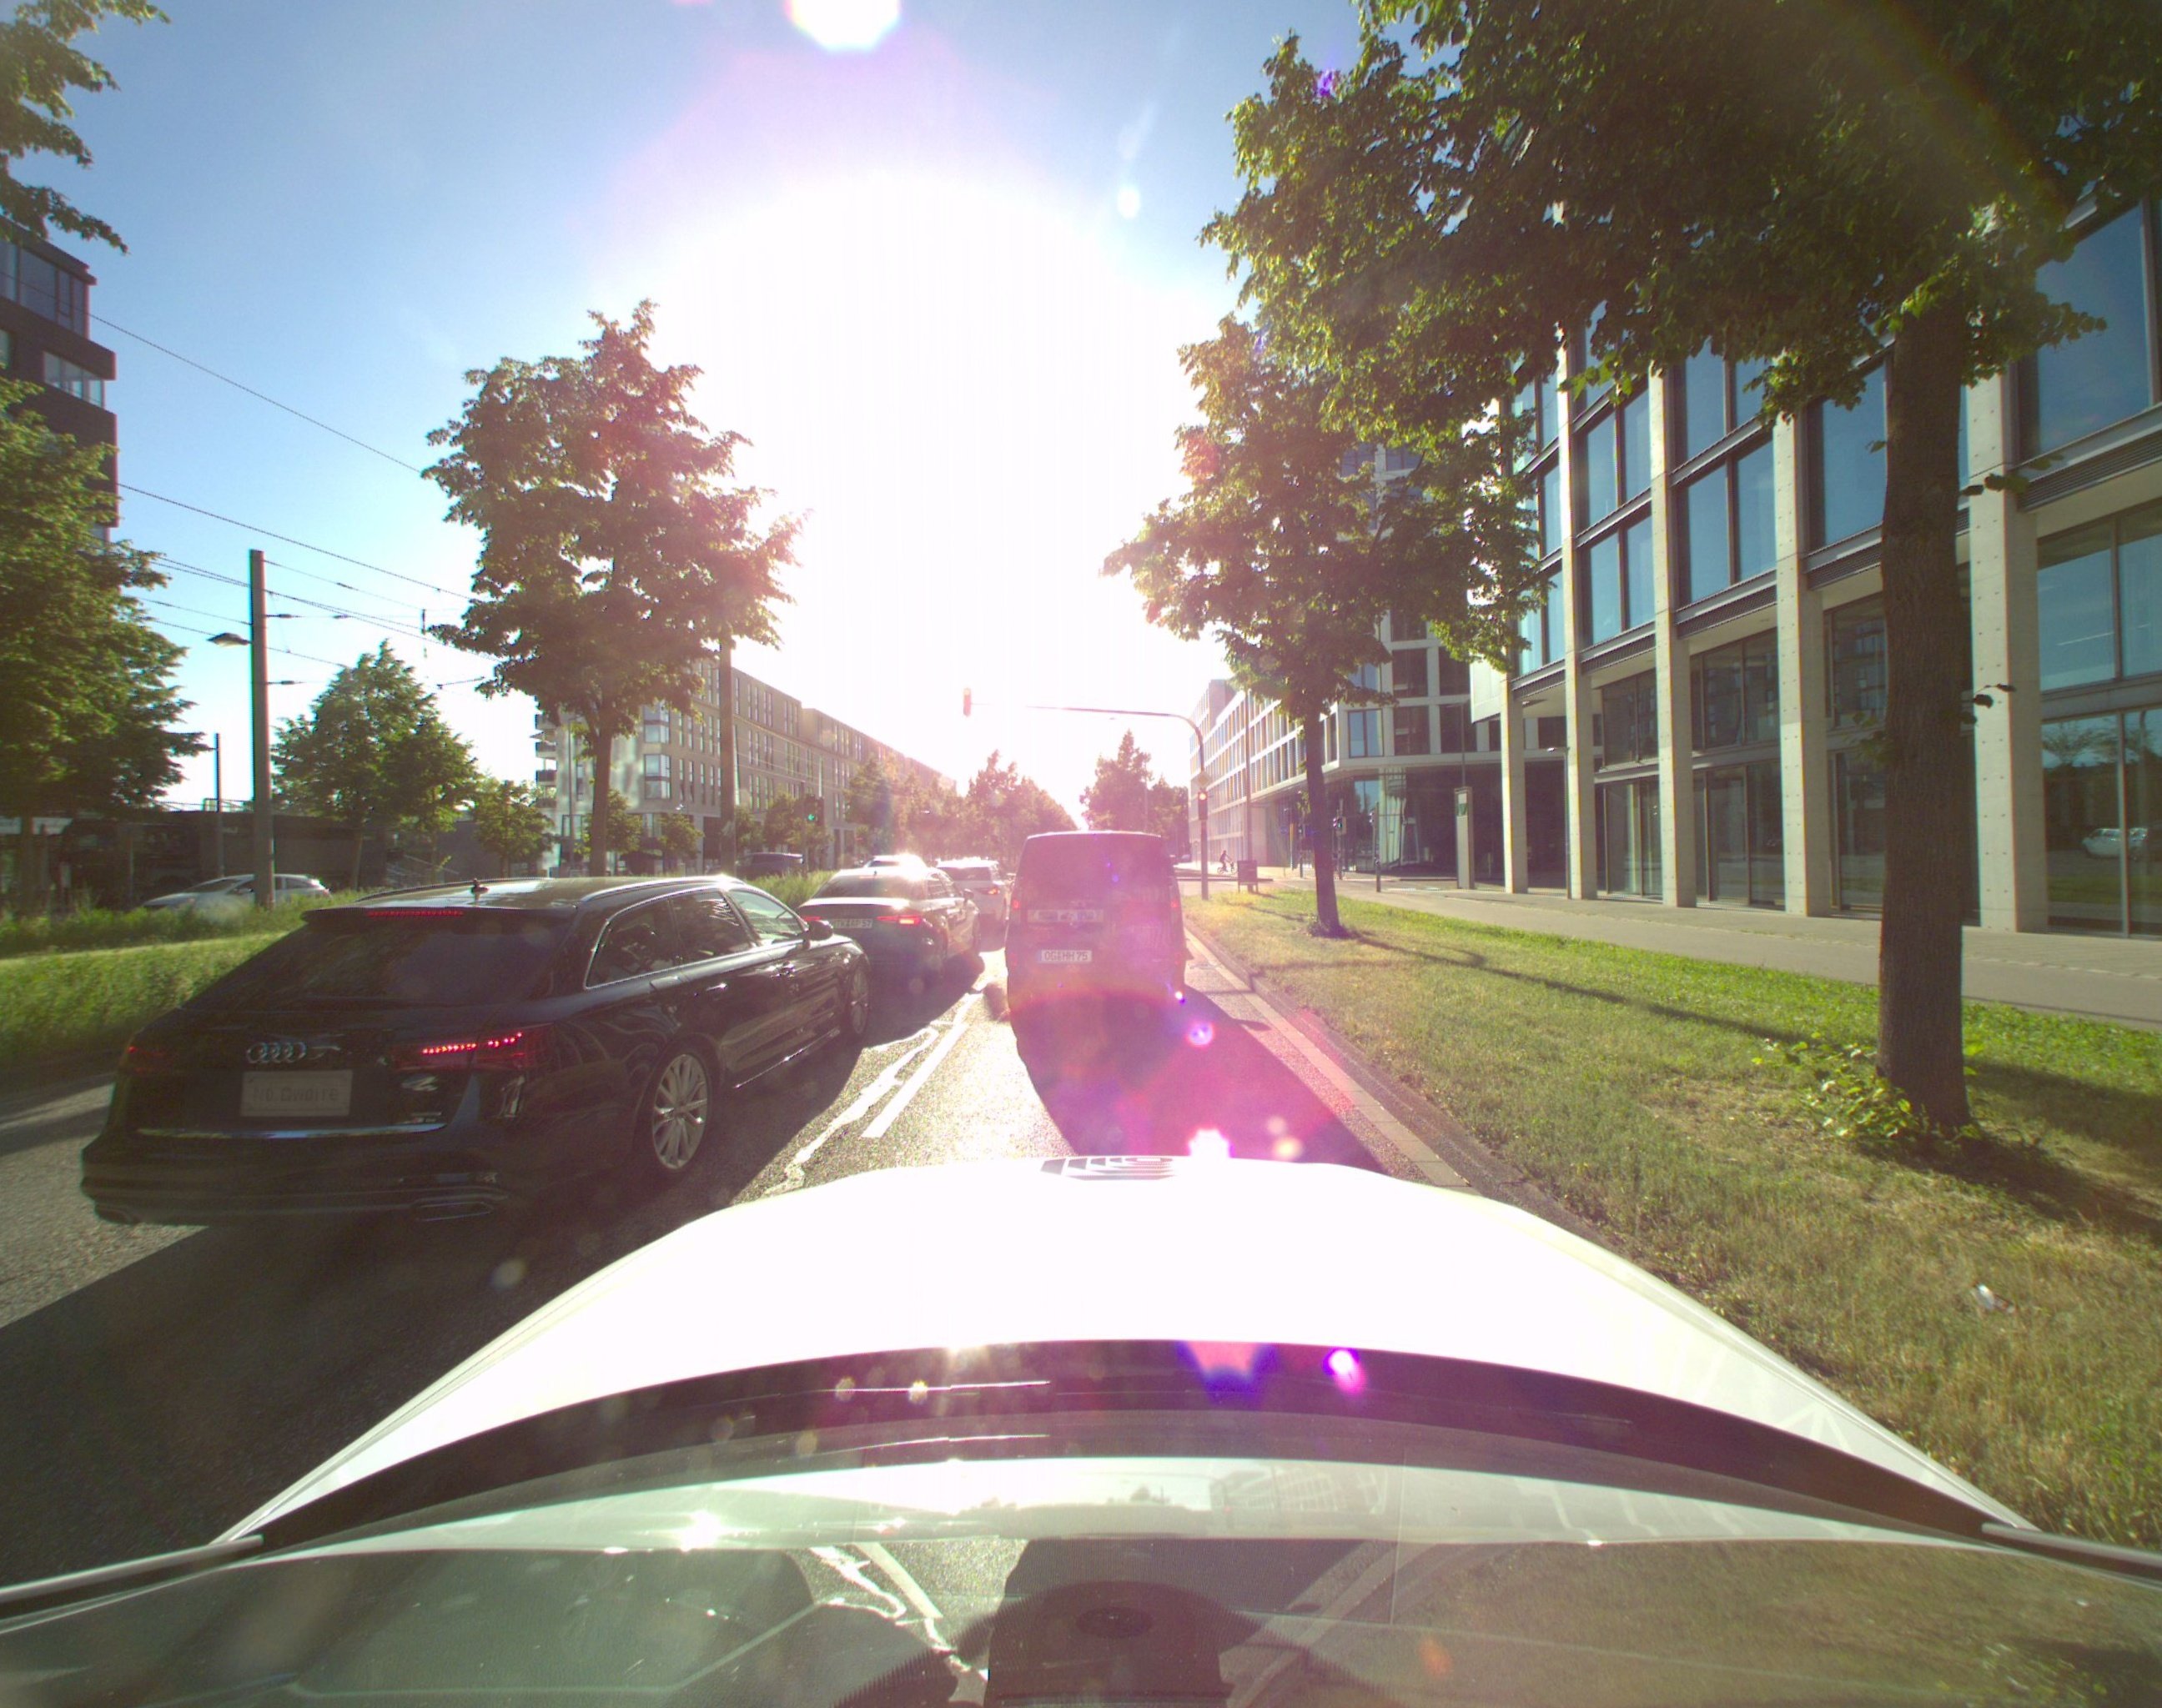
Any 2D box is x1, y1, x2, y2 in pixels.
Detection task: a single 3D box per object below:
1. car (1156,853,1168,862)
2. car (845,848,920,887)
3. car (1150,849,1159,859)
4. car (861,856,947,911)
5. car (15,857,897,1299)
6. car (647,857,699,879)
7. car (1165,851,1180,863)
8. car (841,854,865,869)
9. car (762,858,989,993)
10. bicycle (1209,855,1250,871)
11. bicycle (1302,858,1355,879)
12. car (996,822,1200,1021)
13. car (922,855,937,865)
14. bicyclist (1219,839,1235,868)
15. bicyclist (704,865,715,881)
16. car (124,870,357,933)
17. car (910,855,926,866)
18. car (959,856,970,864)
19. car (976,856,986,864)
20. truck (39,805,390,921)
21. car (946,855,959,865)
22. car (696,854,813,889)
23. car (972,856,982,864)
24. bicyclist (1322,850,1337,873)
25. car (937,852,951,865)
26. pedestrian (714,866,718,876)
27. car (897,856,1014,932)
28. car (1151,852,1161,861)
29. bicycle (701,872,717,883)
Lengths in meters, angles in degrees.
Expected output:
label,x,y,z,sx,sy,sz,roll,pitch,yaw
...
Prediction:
label,x,y,z,sx,sy,sz,roll,pitch,yaw
car,15.967,0.622,160.470,1.986,1.782,4.002,-1,0,2
car,-8.296,0.543,33.794,1.810,1.447,4.524,-1,0,-30
car,17.893,0.013,198.173,1.986,2.497,4.988,-1,0,2
car,-5.379,0.846,25.195,1.508,1.492,4.219,-1,0,3
car,-2.752,0.791,5.338,1.868,1.484,4.967,-1,0,1
car,-31.043,1.048,62.066,1.758,1.520,4.002,-1,0,2
car,14.322,0.423,127.720,1.986,1.782,4.002,-1,0,2
car,-30.879,0.994,110.587,1.986,2.013,4.002,-1,0,2
car,-2.493,0.791,11.067,1.835,1.426,4.340,-1,0,2
bicycle,11.167,0.691,61.265,2.913,1.190,0.823,-1,0,36
bicycle,14.295,0.829,46.973,2.811,1.114,0.825,-1,0,25
car,0.215,0.614,9.422,1.835,1.780,4.002,-1,0,2
car,-29.693,1.188,159.373,1.986,2.013,4.002,-1,0,2
bicyclist,10.999,-0.037,61.386,0.930,2.092,0.823,-1,0,36
bicyclist,-37.436,1.901,82.076,0.674,1.529,0.714,-1,0,1
car,-23.880,1.284,23.450,1.792,1.483,4.571,2,0,3
car,-30.105,1.134,150.277,1.986,2.013,4.002,-1,0,2
car,-28.609,1.421,200.176,1.986,2.013,4.002,-1,0,2
car,-27.441,1.565,223.805,1.986,2.013,4.002,-1,0,2
truck,-33.628,0.302,32.638,2.880,3.853,10.217,-1,0,2
car,-28.899,1.328,183.357,1.986,2.013,4.002,-1,0,2
car,-14.755,0.758,36.930,4.532,1.447,1.807,-1,0,5
car,-27.898,1.527,218.189,1.986,2.013,4.002,-1,0,2
bicyclist,14.338,0.422,46.946,0.674,1.275,0.825,-1,0,24
car,-28.434,0.965,169.283,1.986,2.607,4.002,-1,0,2
pedestrian,-39.599,1.883,88.418,0.253,1.085,0.289,-1,0,1
car,-2.604,0.789,17.774,1.797,1.426,3.902,-1,0,2
car,16.509,0.533,179.671,1.986,1.782,4.002,-1,0,2
bicycle,-37.424,2.358,82.004,0.674,0.988,1.957,-1,0,2
